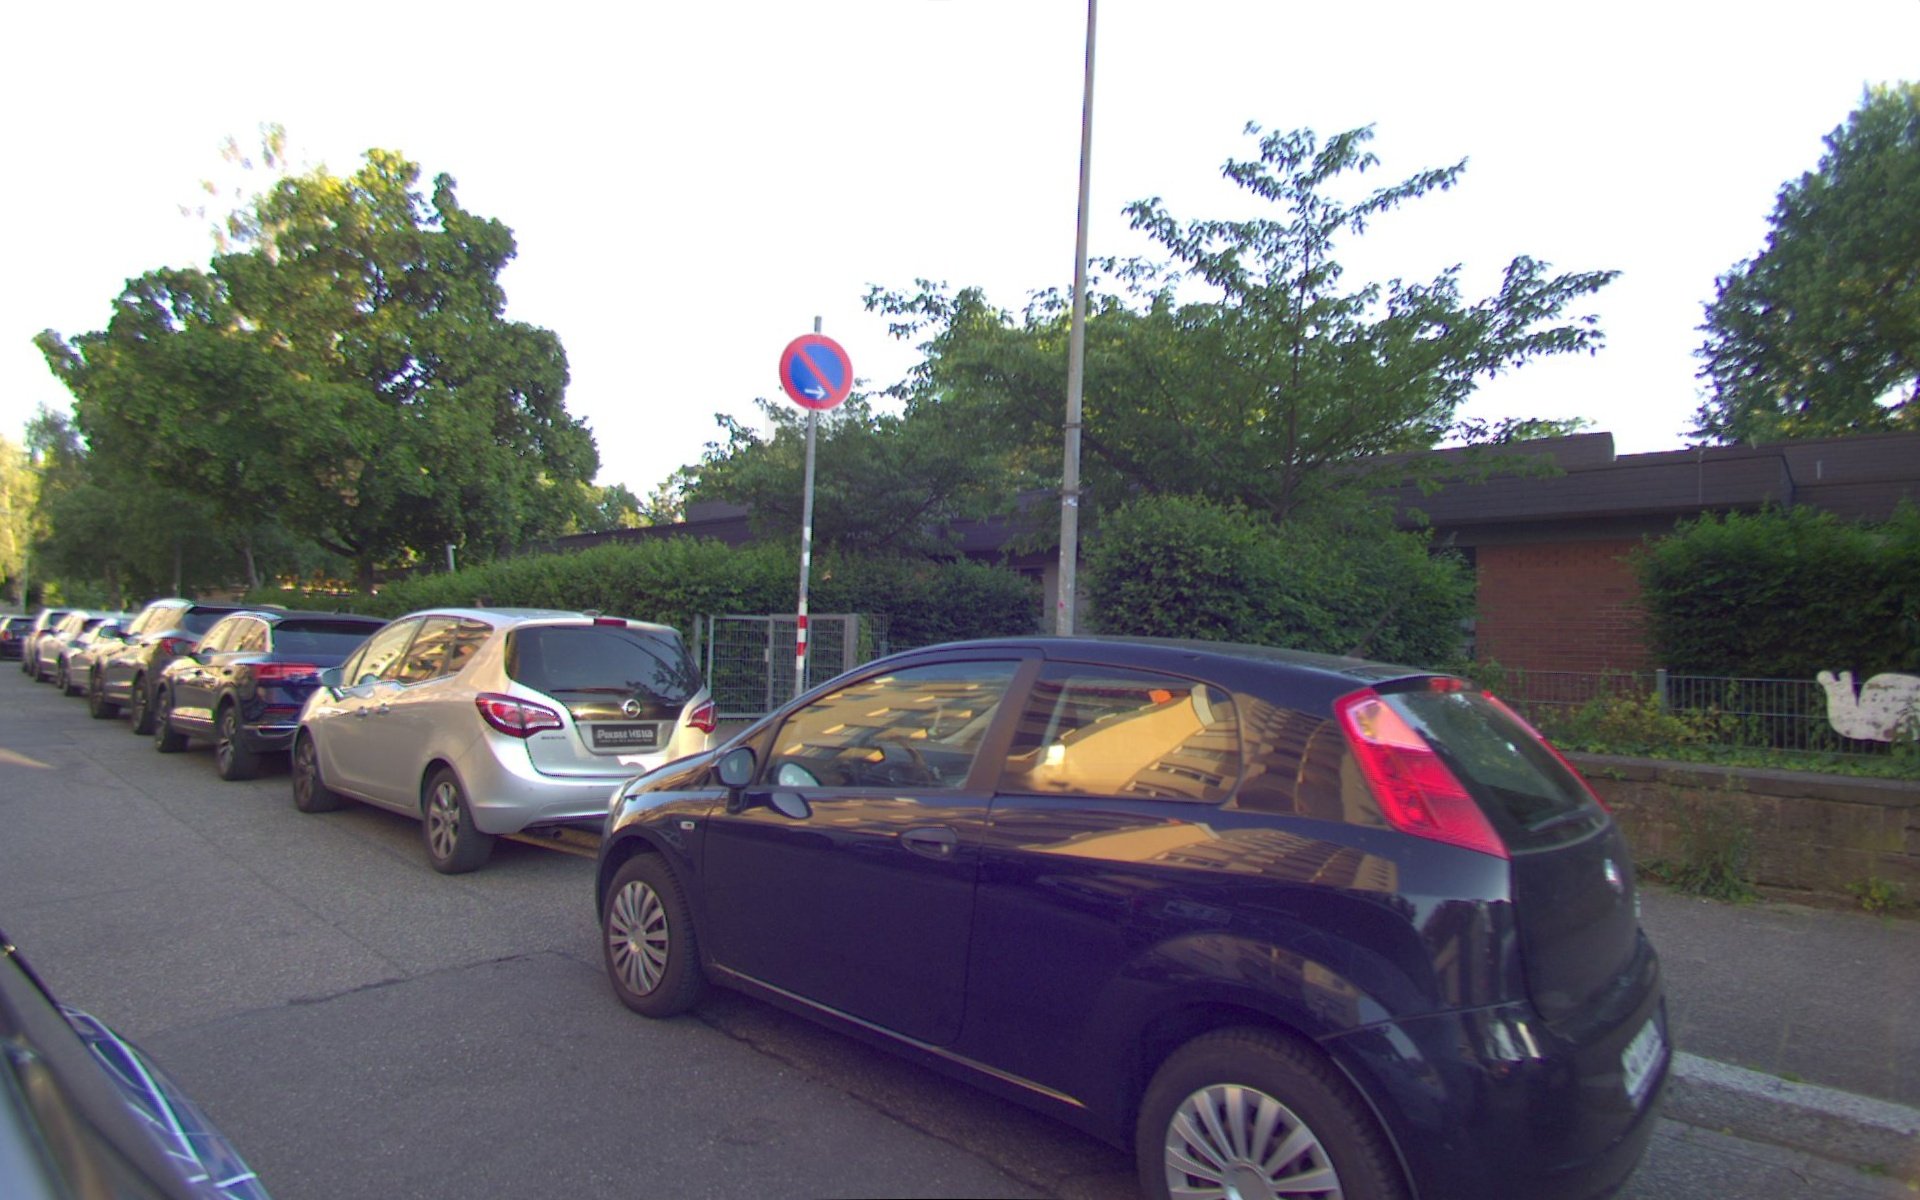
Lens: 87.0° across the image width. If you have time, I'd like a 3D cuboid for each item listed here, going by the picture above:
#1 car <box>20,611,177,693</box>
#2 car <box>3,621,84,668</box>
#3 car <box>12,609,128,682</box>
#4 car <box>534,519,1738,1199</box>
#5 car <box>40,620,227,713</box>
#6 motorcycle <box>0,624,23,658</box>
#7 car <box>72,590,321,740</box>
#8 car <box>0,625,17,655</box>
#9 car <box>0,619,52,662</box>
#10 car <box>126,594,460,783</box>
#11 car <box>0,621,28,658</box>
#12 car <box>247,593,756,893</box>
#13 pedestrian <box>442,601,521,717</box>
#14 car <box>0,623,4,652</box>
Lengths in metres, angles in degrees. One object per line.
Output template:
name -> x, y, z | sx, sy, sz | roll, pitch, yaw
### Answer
car -> -18.079, 1.062, 21.177 | 4.277, 1.554, 1.741 | -1, -4, 40
car -> -29.711, 1.427, 32.777 | 3.416, 1.436, 1.602 | -1, -5, 43
car -> -21.919, 1.110, 24.885 | 3.981, 1.644, 1.714 | -1, -5, 44
car -> 0.301, 0.735, 3.483 | 3.694, 1.579, 1.716 | -1, -4, 40
car -> -14.515, 1.114, 17.703 | 4.284, 1.438, 1.716 | -1, -4, 40
motorcycle -> -36.683, 1.556, 38.440 | 1.574, 1.268, 0.786 | 2, -2, -45
car -> -10.499, 0.837, 13.807 | 4.320, 1.743, 1.716 | -1, -4, 40
car -> -42.826, 1.722, 44.435 | 3.804, 1.297, 1.715 | -1, -4, 42
car -> -33.894, 1.433, 36.193 | 3.805, 1.457, 1.714 | -1, -5, 43
car -> -7.016, 0.820, 10.489 | 4.164, 1.579, 1.716 | -1, -4, 40
car -> -38.834, 1.560, 40.595 | 3.804, 1.436, 1.715 | -1, -4, 42
car -> -3.496, 0.833, 7.365 | 4.126, 1.579, 1.716 | -1, -4, 40
pedestrian -> -7.516, 0.894, 15.907 | 0.750, 1.745, 0.889 | -1, 0, 41
car -> -46.707, 1.721, 47.903 | 3.804, 1.377, 1.715 | -1, -4, 42
